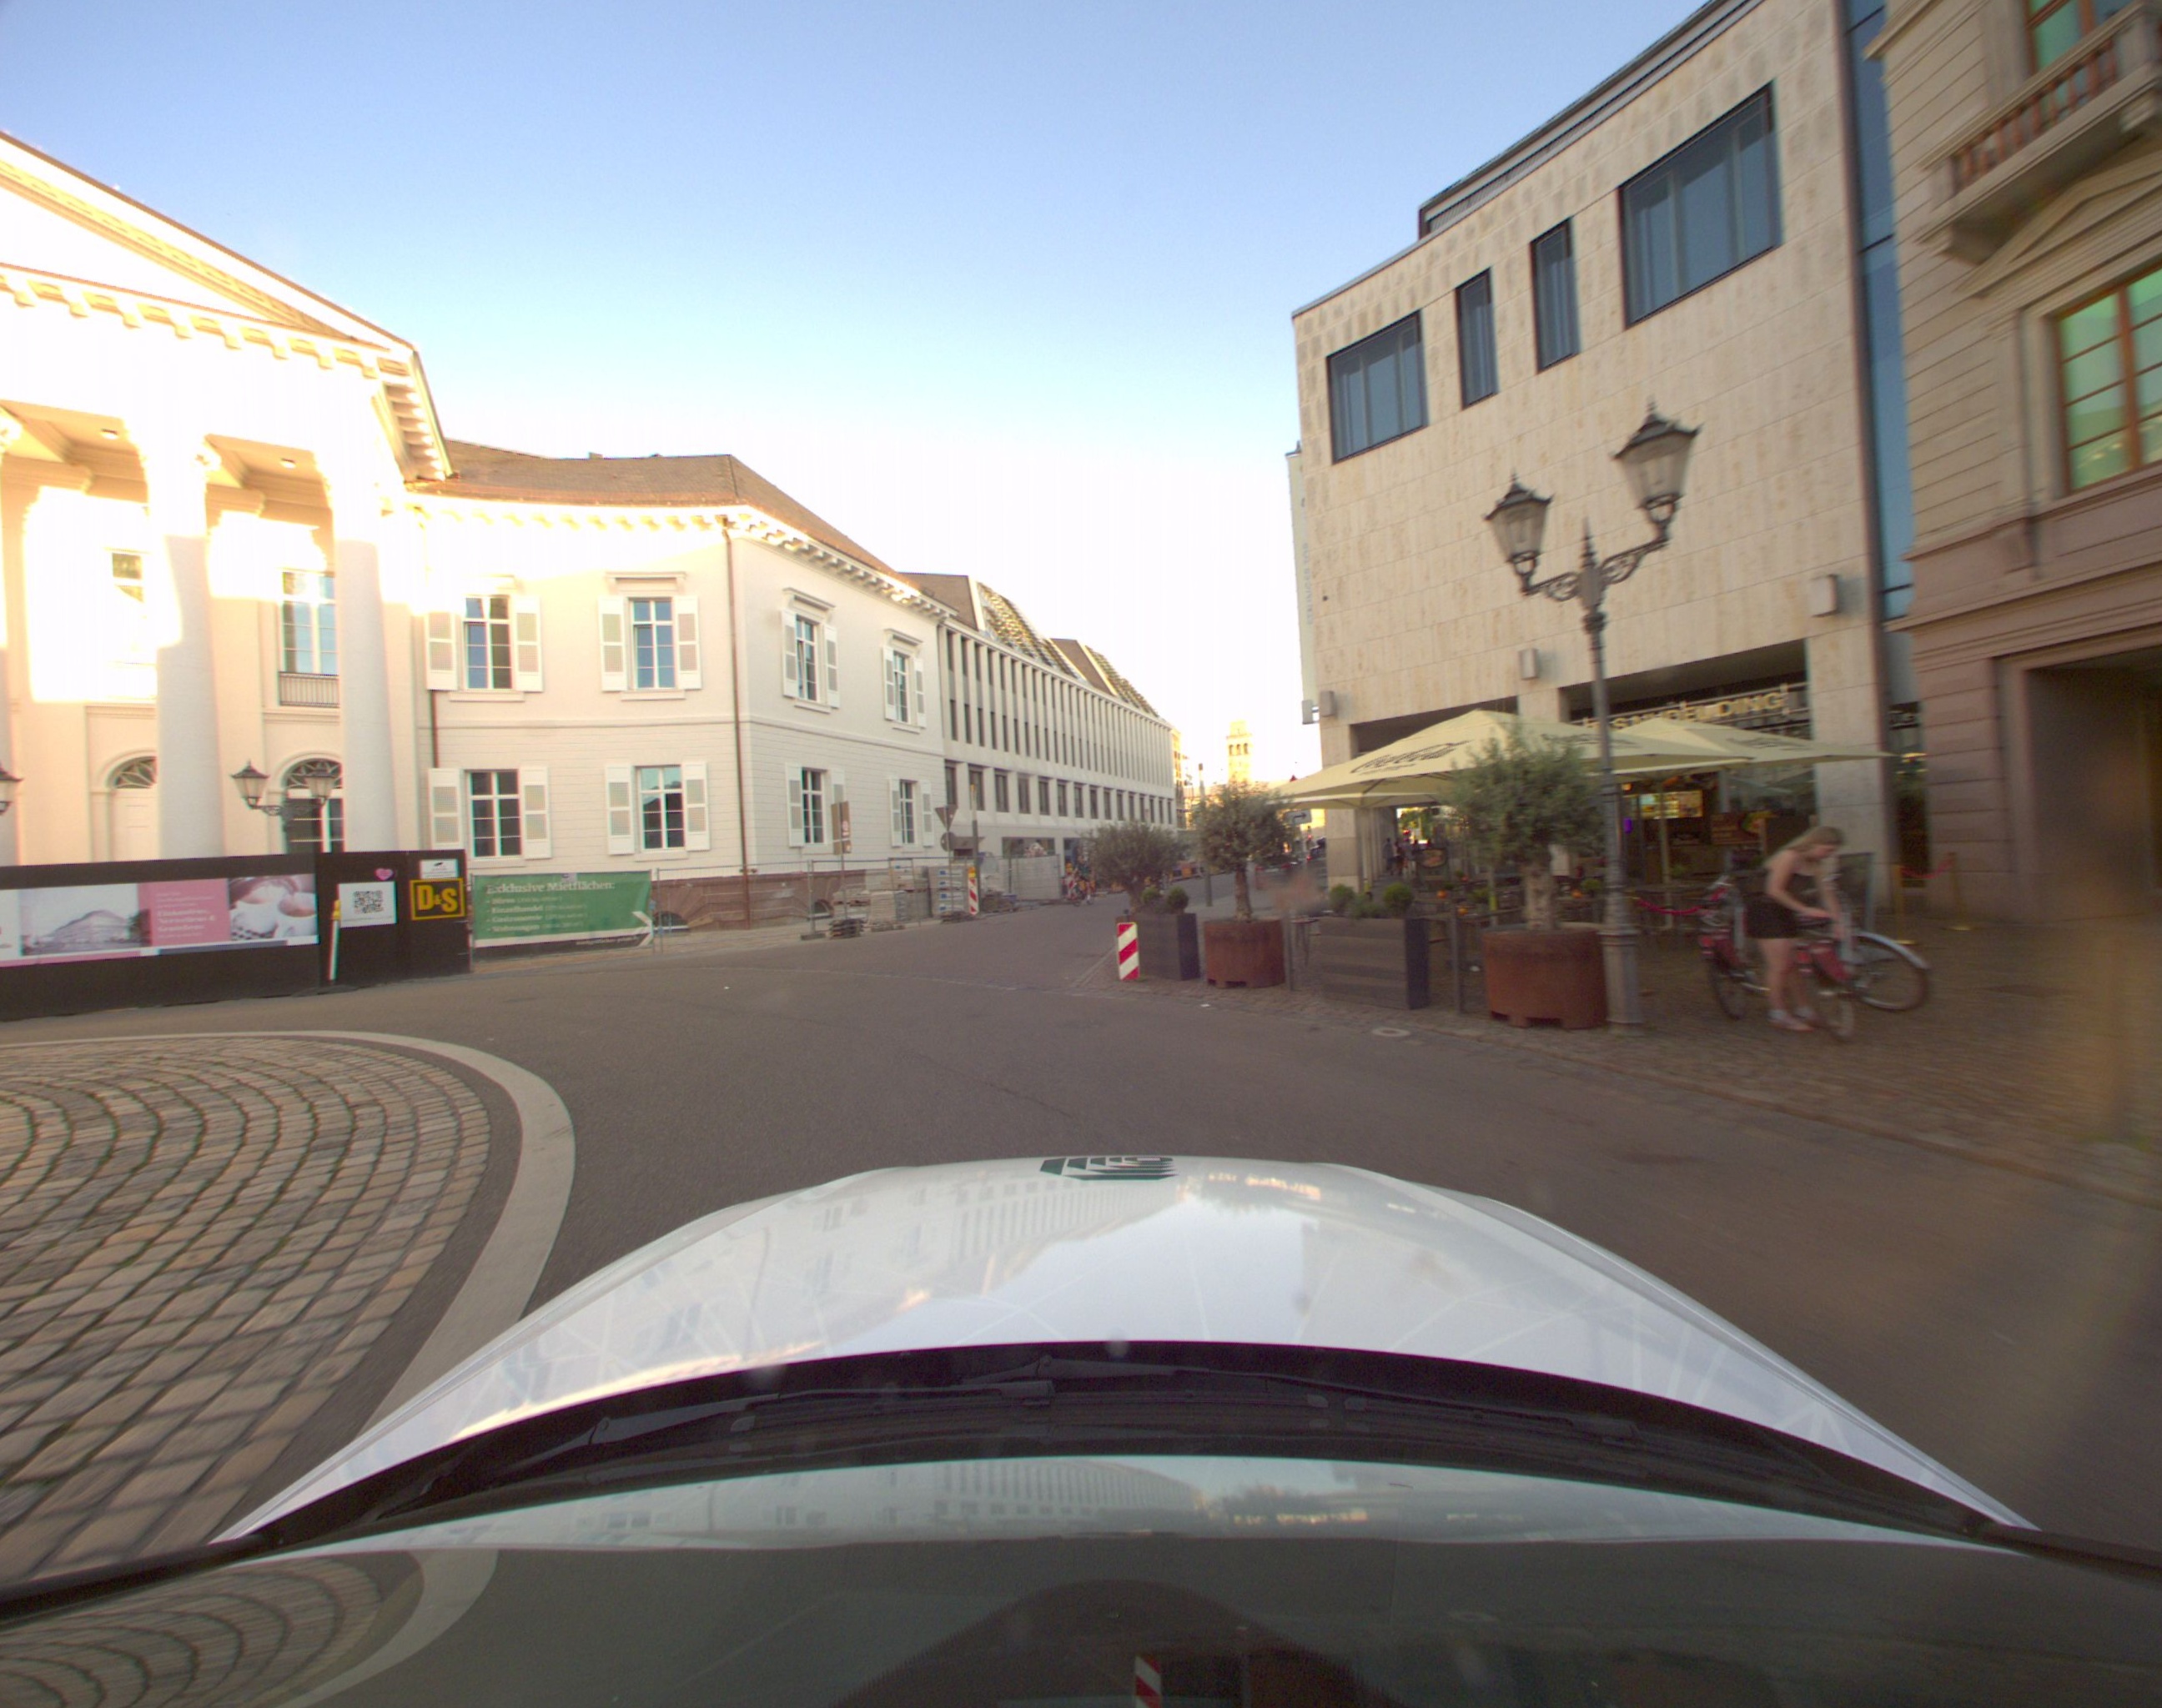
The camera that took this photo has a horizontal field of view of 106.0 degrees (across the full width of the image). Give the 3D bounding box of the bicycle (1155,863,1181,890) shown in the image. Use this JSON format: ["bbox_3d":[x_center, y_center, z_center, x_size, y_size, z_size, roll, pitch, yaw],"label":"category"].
[{"bbox_3d":[4.433,1.132,41.248,0.790,1.217,2.244,-3,-1,19],"label":"bicycle"}]

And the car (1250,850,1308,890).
[{"bbox_3d":[8.898,0.664,36.295,1.779,1.490,4.215,-7,-2,22],"label":"car"}]

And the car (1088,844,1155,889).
[{"bbox_3d":[2.581,0.698,49.978,2.154,2.470,6.031,-3,-1,22],"label":"car"}]

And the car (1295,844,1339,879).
[{"bbox_3d":[12.795,0.373,43.991,1.753,1.638,4.079,-7,-2,22],"label":"car"}]

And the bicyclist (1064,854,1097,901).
[{"bbox_3d":[-0.012,0.844,29.275,0.790,1.603,1.236,-3,-1,17],"label":"bicyclist"}]

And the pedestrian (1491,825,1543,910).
[{"bbox_3d":[9.218,0.277,17.224,0.709,1.745,0.673,-4,-1,44],"label":"pedestrian"}]

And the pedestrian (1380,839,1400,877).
[{"bbox_3d":[14.149,0.171,37.253,0.758,1.681,0.881,-4,1,21],"label":"pedestrian"}]

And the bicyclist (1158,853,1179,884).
[{"bbox_3d":[4.437,0.717,41.275,0.790,1.532,0.979,-3,-1,19],"label":"bicyclist"}]

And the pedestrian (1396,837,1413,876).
[{"bbox_3d":[15.388,0.101,38.735,0.628,1.774,0.779,-4,1,21],"label":"pedestrian"}]

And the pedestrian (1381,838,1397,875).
[{"bbox_3d":[14.411,0.110,38.163,0.586,1.698,0.699,-4,-1,19],"label":"pedestrian"}]

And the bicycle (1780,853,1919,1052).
[{"bbox_3d":[5.721,0.637,6.021,1.917,1.128,0.600,-6,1,-44],"label":"bicycle"}]

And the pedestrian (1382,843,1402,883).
[{"bbox_3d":[13.803,0.399,36.151,0.758,1.681,0.881,-4,1,21],"label":"pedestrian"}]

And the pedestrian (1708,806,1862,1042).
[{"bbox_3d":[5.134,0.473,5.985,0.740,1.588,0.719,-4,-1,39],"label":"pedestrian"}]

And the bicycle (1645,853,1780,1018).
[{"bbox_3d":[5.549,0.635,7.103,1.917,1.128,0.600,-6,1,-44],"label":"bicycle"}]

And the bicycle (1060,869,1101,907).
[{"bbox_3d":[0.005,1.192,29.264,0.790,1.217,2.243,-3,-1,17],"label":"bicycle"}]

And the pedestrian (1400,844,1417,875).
[{"bbox_3d":[14.721,0.235,36.648,0.628,1.345,0.779,-4,1,21],"label":"pedestrian"}]

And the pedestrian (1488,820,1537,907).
[{"bbox_3d":[9.539,0.209,18.010,0.709,1.862,0.673,-4,-1,44],"label":"pedestrian"}]
